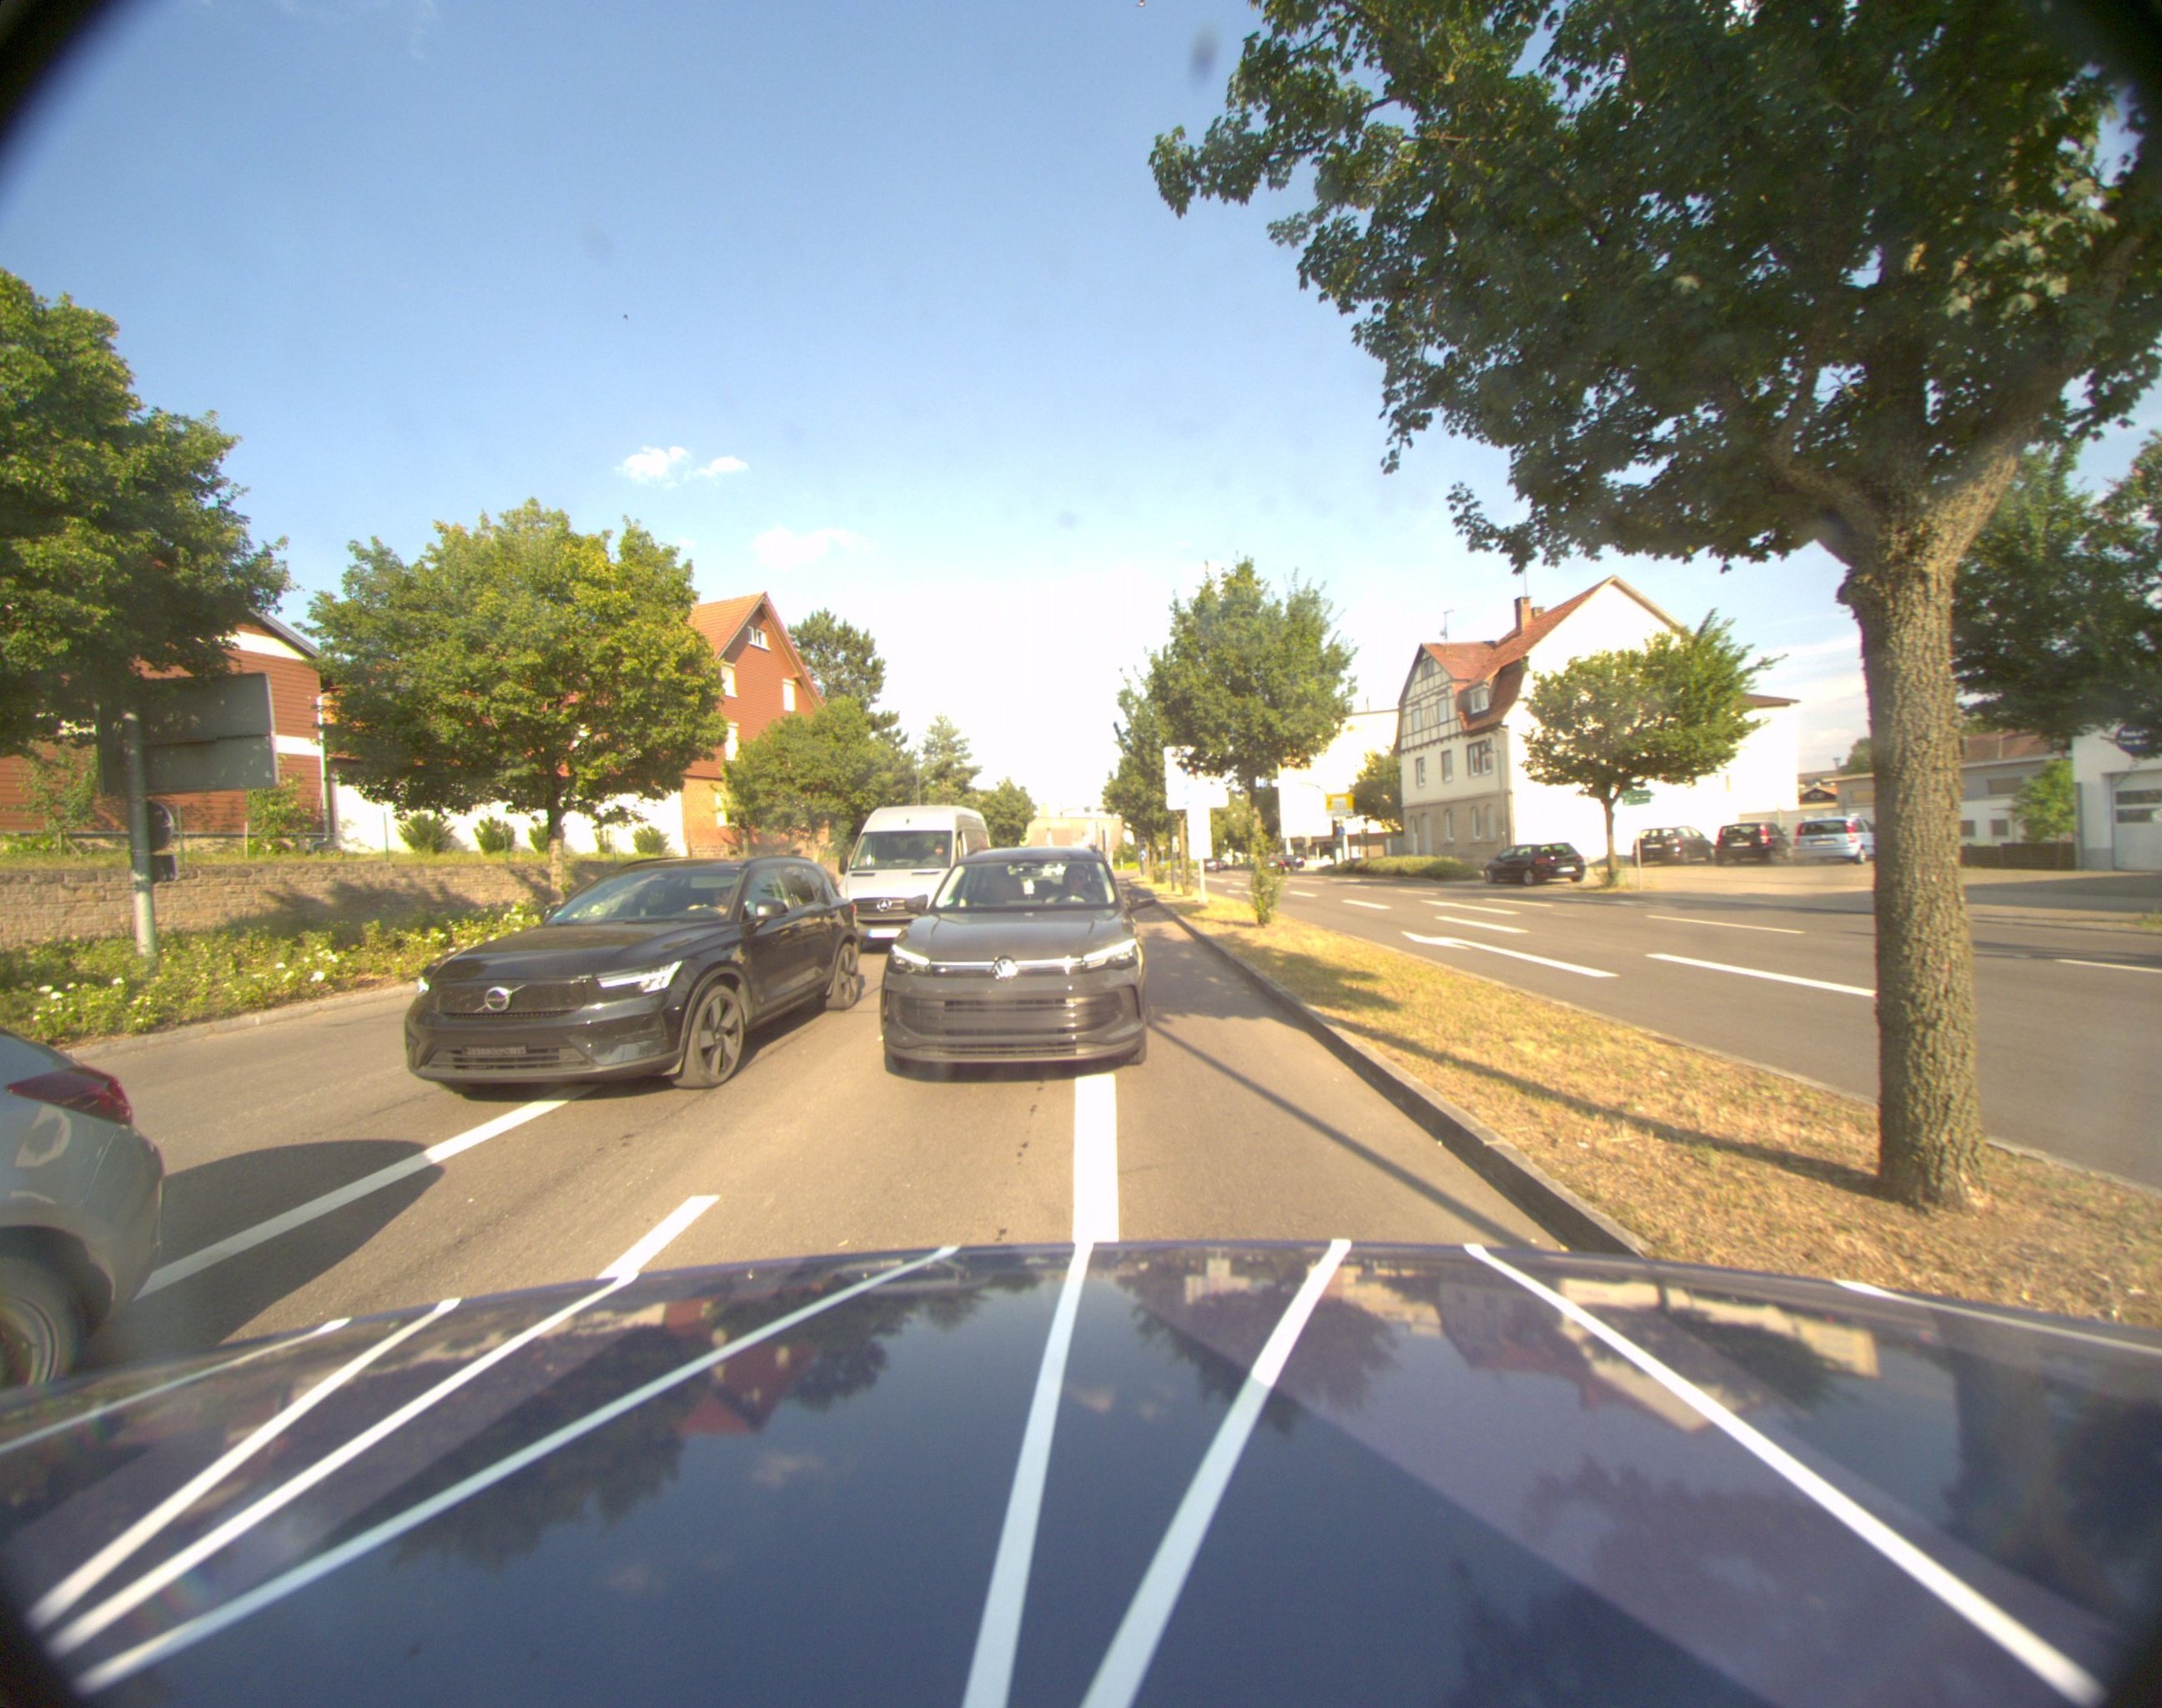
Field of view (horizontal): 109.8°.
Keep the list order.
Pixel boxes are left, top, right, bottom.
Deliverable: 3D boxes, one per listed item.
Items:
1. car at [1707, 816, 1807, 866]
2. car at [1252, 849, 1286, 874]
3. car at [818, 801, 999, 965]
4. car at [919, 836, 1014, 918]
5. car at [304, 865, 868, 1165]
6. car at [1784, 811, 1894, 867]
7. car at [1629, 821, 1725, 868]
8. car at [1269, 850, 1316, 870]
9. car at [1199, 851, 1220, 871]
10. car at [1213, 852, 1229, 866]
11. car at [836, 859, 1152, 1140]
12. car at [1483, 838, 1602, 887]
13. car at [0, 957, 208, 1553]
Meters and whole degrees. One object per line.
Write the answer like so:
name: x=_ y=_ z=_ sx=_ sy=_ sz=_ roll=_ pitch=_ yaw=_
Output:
car: x=24.651 y=-0.492 z=27.677 sx=3.830 sy=1.493 sz=1.816 roll=-5 pitch=0 yaw=-35
car: x=13.942 y=0.524 z=56.537 sx=1.781 sy=1.683 sz=4.001 roll=-2 pitch=0 yaw=4
car: x=-3.042 y=0.448 z=14.976 sx=1.992 sy=2.554 sz=6.046 roll=-1 pitch=0 yaw=2
car: x=-3.021 y=0.561 z=20.971 sx=1.845 sy=2.018 sz=4.318 roll=-1 pitch=0 yaw=2
car: x=-3.404 y=0.949 z=6.448 sx=1.845 sy=1.600 sz=4.318 roll=-1 pitch=0 yaw=2
car: x=24.873 y=-0.506 z=24.911 sx=3.830 sy=1.493 sz=1.816 roll=-5 pitch=0 yaw=-35
car: x=23.372 y=-0.394 z=29.773 sx=3.830 sy=1.493 sz=1.816 roll=-5 pitch=0 yaw=-35
car: x=19.216 y=0.541 z=69.287 sx=3.993 sy=1.664 sz=1.789 roll=-2 pitch=1 yaw=12
car: x=12.048 y=0.622 z=71.465 sx=1.780 sy=1.683 sz=4.002 roll=-2 pitch=0 yaw=8
car: x=17.115 y=0.595 z=92.770 sx=1.780 sy=1.683 sz=4.003 roll=-2 pitch=0 yaw=12
car: x=-0.456 y=0.874 z=6.637 sx=1.845 sy=1.600 sz=4.318 roll=-1 pitch=0 yaw=2
car: x=16.027 y=0.279 z=26.638 sx=1.818 sy=1.442 sz=3.825 roll=-5 pitch=0 yaw=1
car: x=-3.617 y=1.063 z=0.200 sx=1.766 sy=1.445 sz=4.318 roll=-1 pitch=0 yaw=0
